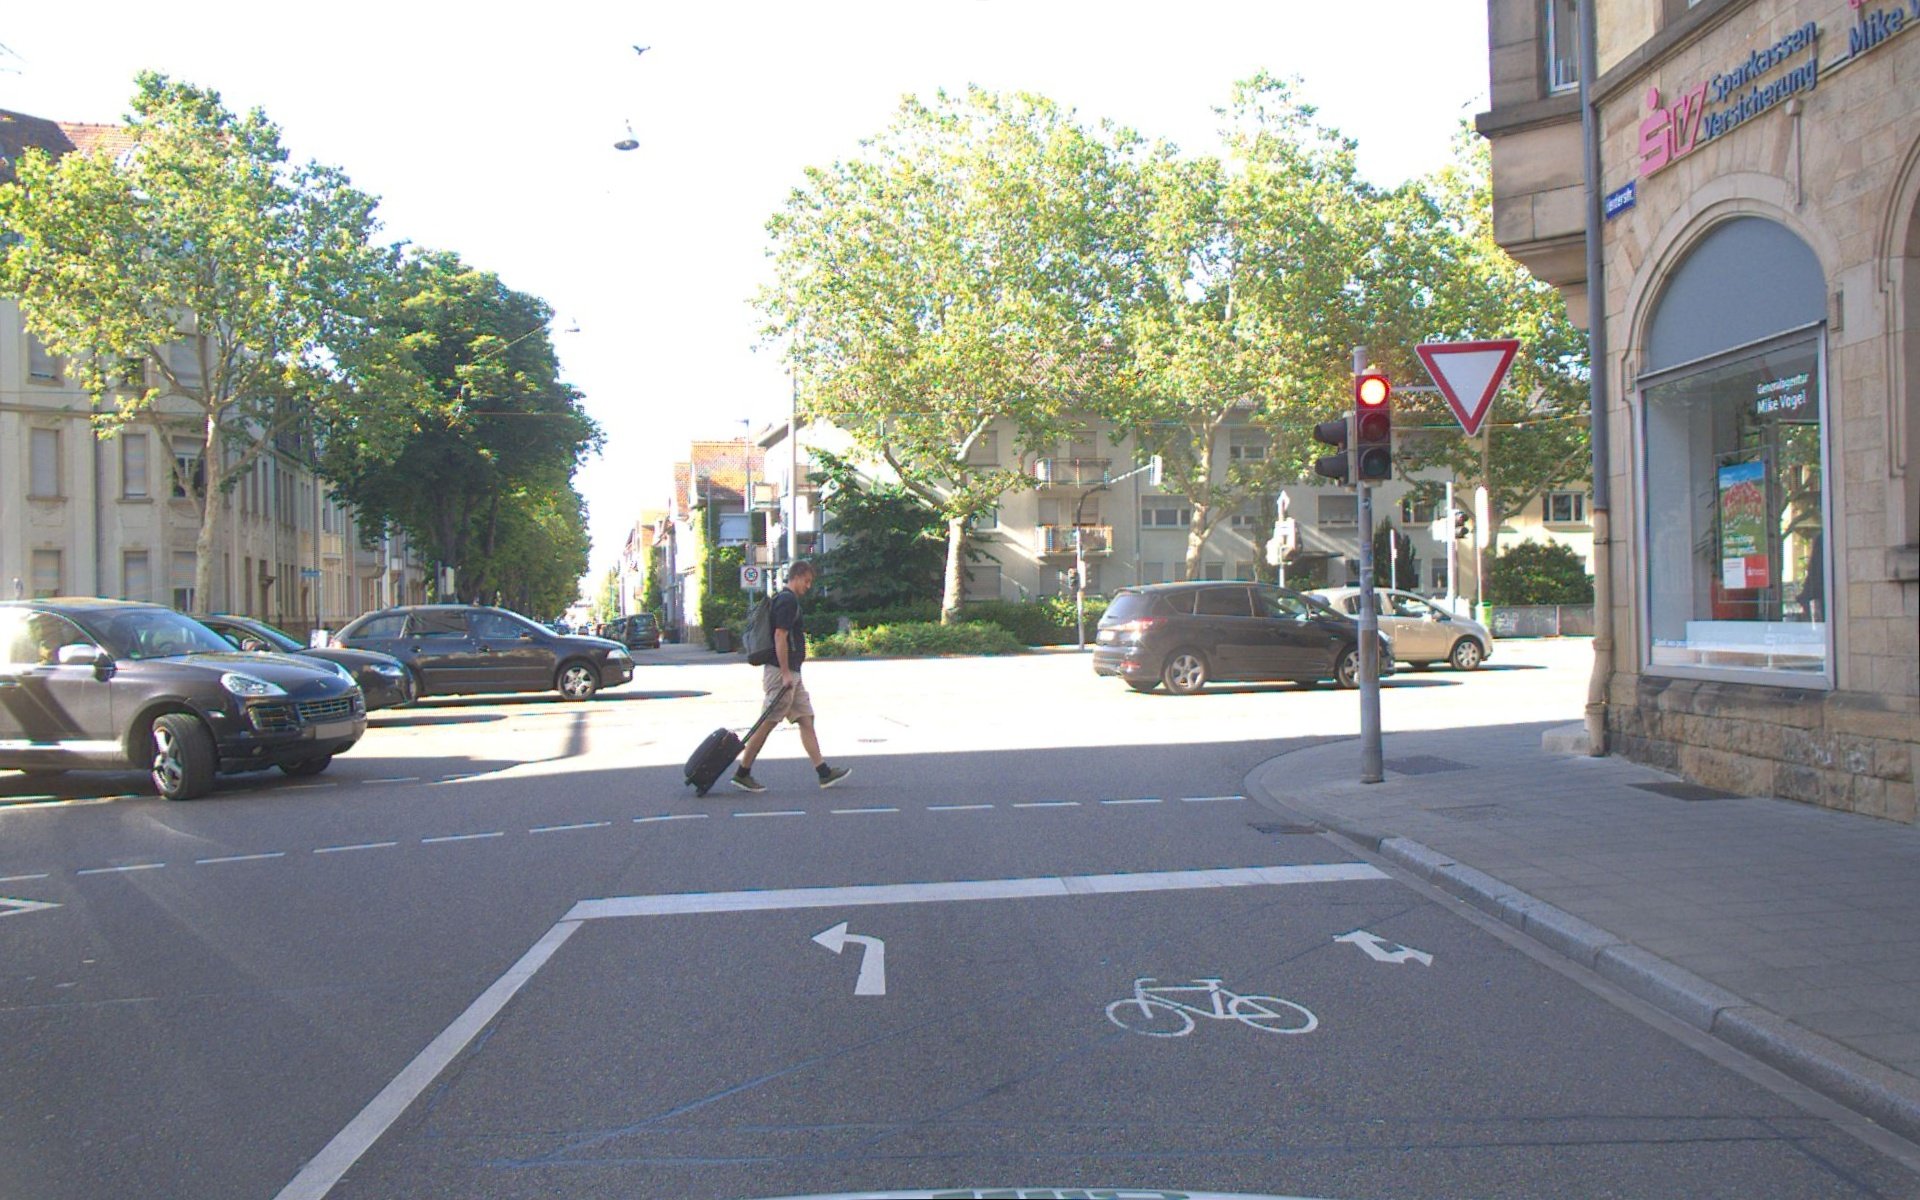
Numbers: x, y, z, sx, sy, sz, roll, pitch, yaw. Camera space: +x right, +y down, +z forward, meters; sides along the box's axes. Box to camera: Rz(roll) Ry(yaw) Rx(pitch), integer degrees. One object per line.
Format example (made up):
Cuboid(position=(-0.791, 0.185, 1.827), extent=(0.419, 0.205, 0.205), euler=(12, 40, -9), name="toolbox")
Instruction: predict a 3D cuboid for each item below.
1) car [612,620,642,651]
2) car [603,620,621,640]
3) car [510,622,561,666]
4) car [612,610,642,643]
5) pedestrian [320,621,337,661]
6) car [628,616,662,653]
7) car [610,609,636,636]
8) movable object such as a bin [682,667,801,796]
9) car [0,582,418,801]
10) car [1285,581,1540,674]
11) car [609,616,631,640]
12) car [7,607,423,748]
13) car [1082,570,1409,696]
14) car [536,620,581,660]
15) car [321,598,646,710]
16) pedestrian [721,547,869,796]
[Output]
Cuboid(position=(-23.210, 2.451, 115.216), extent=(1.958, 2.049, 3.988), euler=(1, 0, -12), name="car")
Cuboid(position=(-37.918, 3.271, 180.195), extent=(1.742, 1.952, 3.523), euler=(-3, 0, -12), name="car")
Cuboid(position=(-16.164, 1.642, 63.086), extent=(1.669, 1.509, 3.523), euler=(-3, 1, -12), name="car")
Cuboid(position=(-21.004, 1.663, 104.299), extent=(1.742, 1.952, 3.523), euler=(-3, 0, -12), name="car")
Cuboid(position=(-23.610, 1.538, 61.854), extent=(0.480, 1.467, 0.702), euler=(1, -1, -16), name="pedestrian")
Cuboid(position=(-17.971, 1.926, 94.226), extent=(1.742, 1.952, 3.523), euler=(-3, 0, -12), name="car")
Cuboid(position=(-25.982, 1.705, 127.579), extent=(1.958, 2.049, 3.988), euler=(1, 0, -12), name="car")
Cuboid(position=(-1.682, 0.997, 12.699), extent=(0.847, 0.907, 0.508), euler=(-2, 0, -13), name="movable object such as a bin")
Cuboid(position=(-7.576, 0.806, 14.968), extent=(4.593, 1.723, 2.081), euler=(-2, 0, 12), name="car")
Cuboid(position=(8.046, 0.450, 29.468), extent=(4.134, 1.482, 1.671), euler=(-1, 1, -17), name="car")
Cuboid(position=(-30.032, 2.463, 145.945), extent=(1.742, 1.952, 3.523), euler=(-3, 0, -12), name="car")
Cuboid(position=(-9.267, 0.926, 20.984), extent=(4.542, 1.482, 1.723), euler=(-2, 0, -16), name="car")
Cuboid(position=(4.310, 0.463, 25.083), extent=(4.585, 1.693, 1.723), euler=(-2, 0, -16), name="car")
Cuboid(position=(-16.794, 1.661, 69.323), extent=(1.669, 1.509, 3.523), euler=(-3, 1, -12), name="car")
Cuboid(position=(-7.134, 0.775, 25.134), extent=(4.539, 1.482, 1.974), euler=(-2, 0, -14), name="car")
Cuboid(position=(-1.321, 0.543, 13.143), extent=(1.047, 1.881, 0.746), euler=(-2, 0, -13), name="pedestrian")
